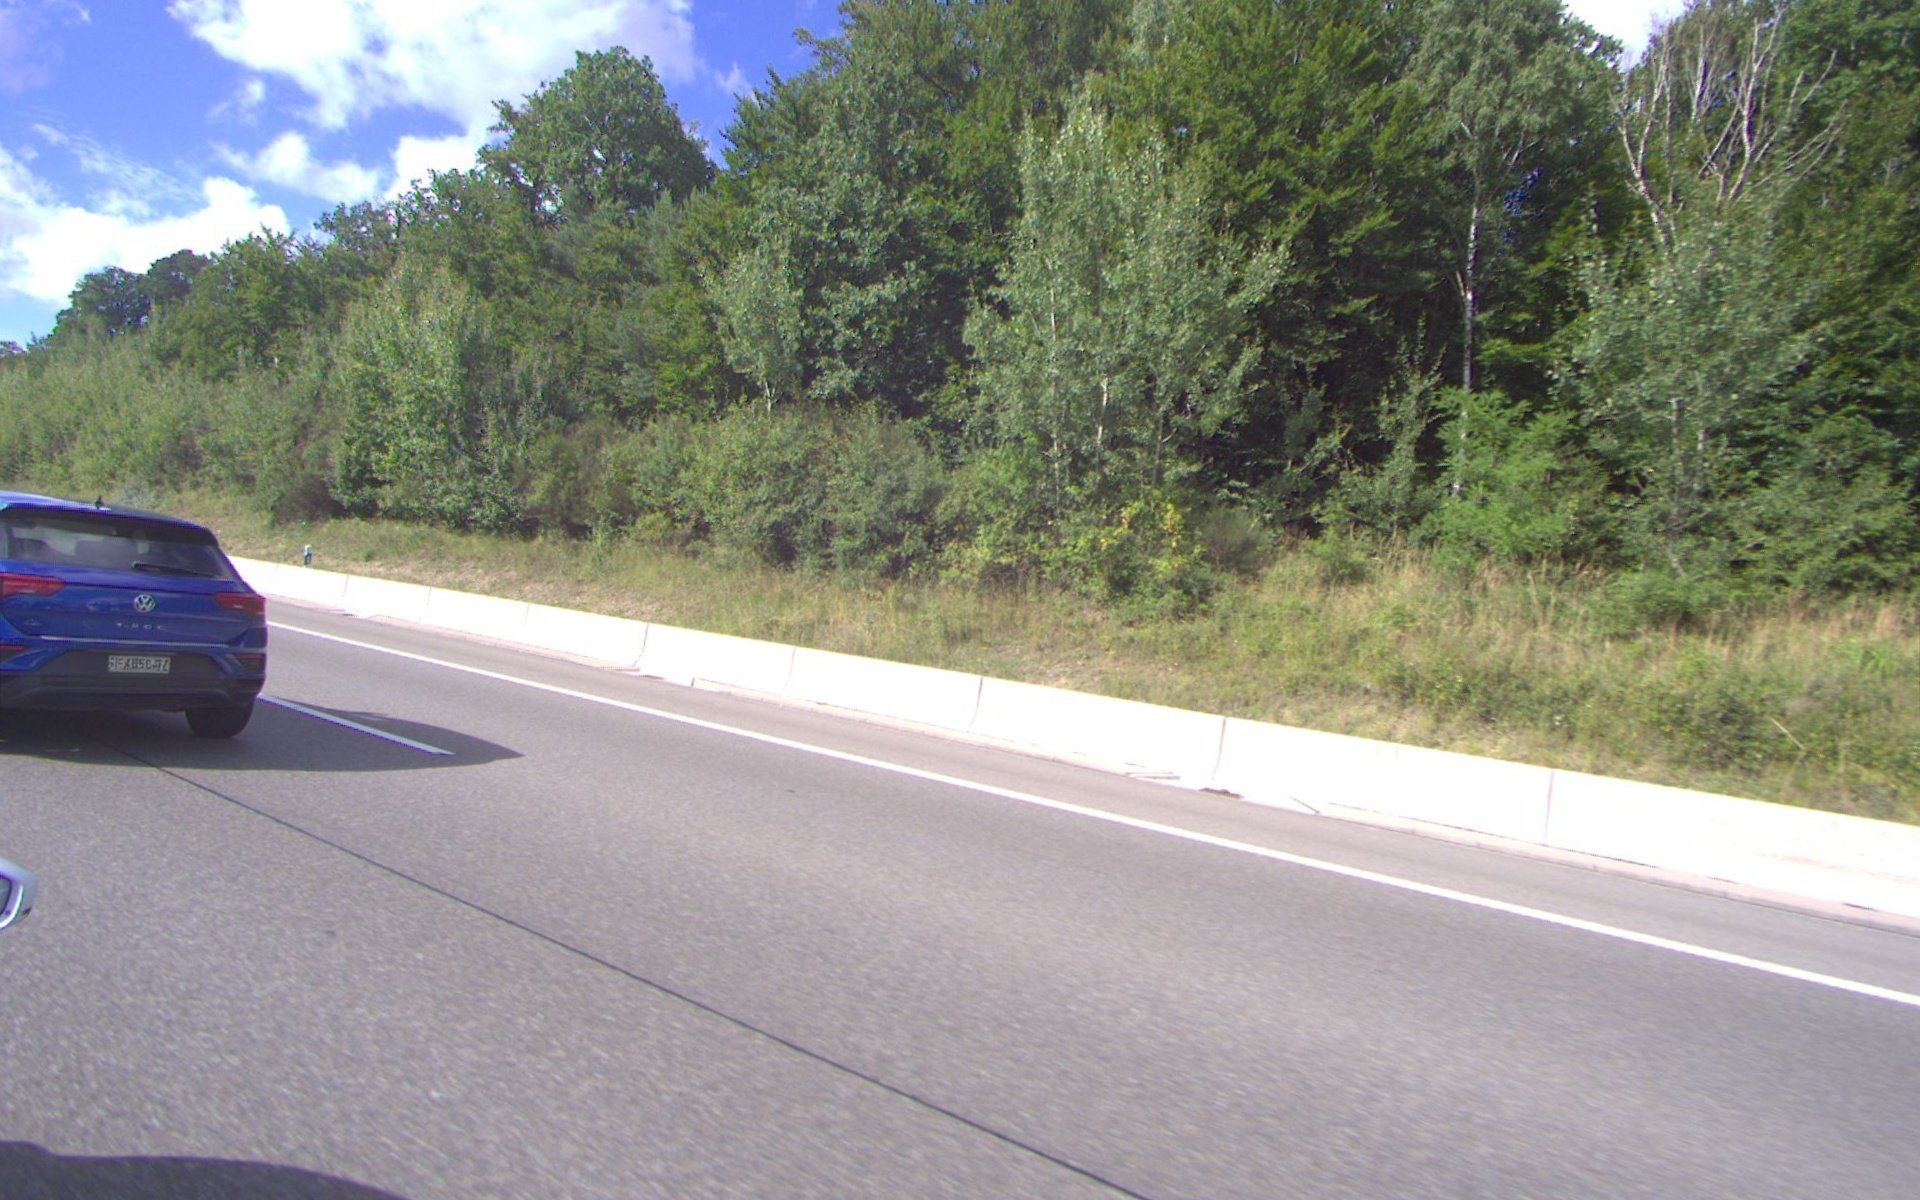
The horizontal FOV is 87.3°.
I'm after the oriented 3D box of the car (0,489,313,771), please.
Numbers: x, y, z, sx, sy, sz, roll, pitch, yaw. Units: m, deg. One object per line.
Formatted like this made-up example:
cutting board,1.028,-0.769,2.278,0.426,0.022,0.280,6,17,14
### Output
car,-6.789,-0.006,7.178,4.382,1.549,1.776,7,0,30
